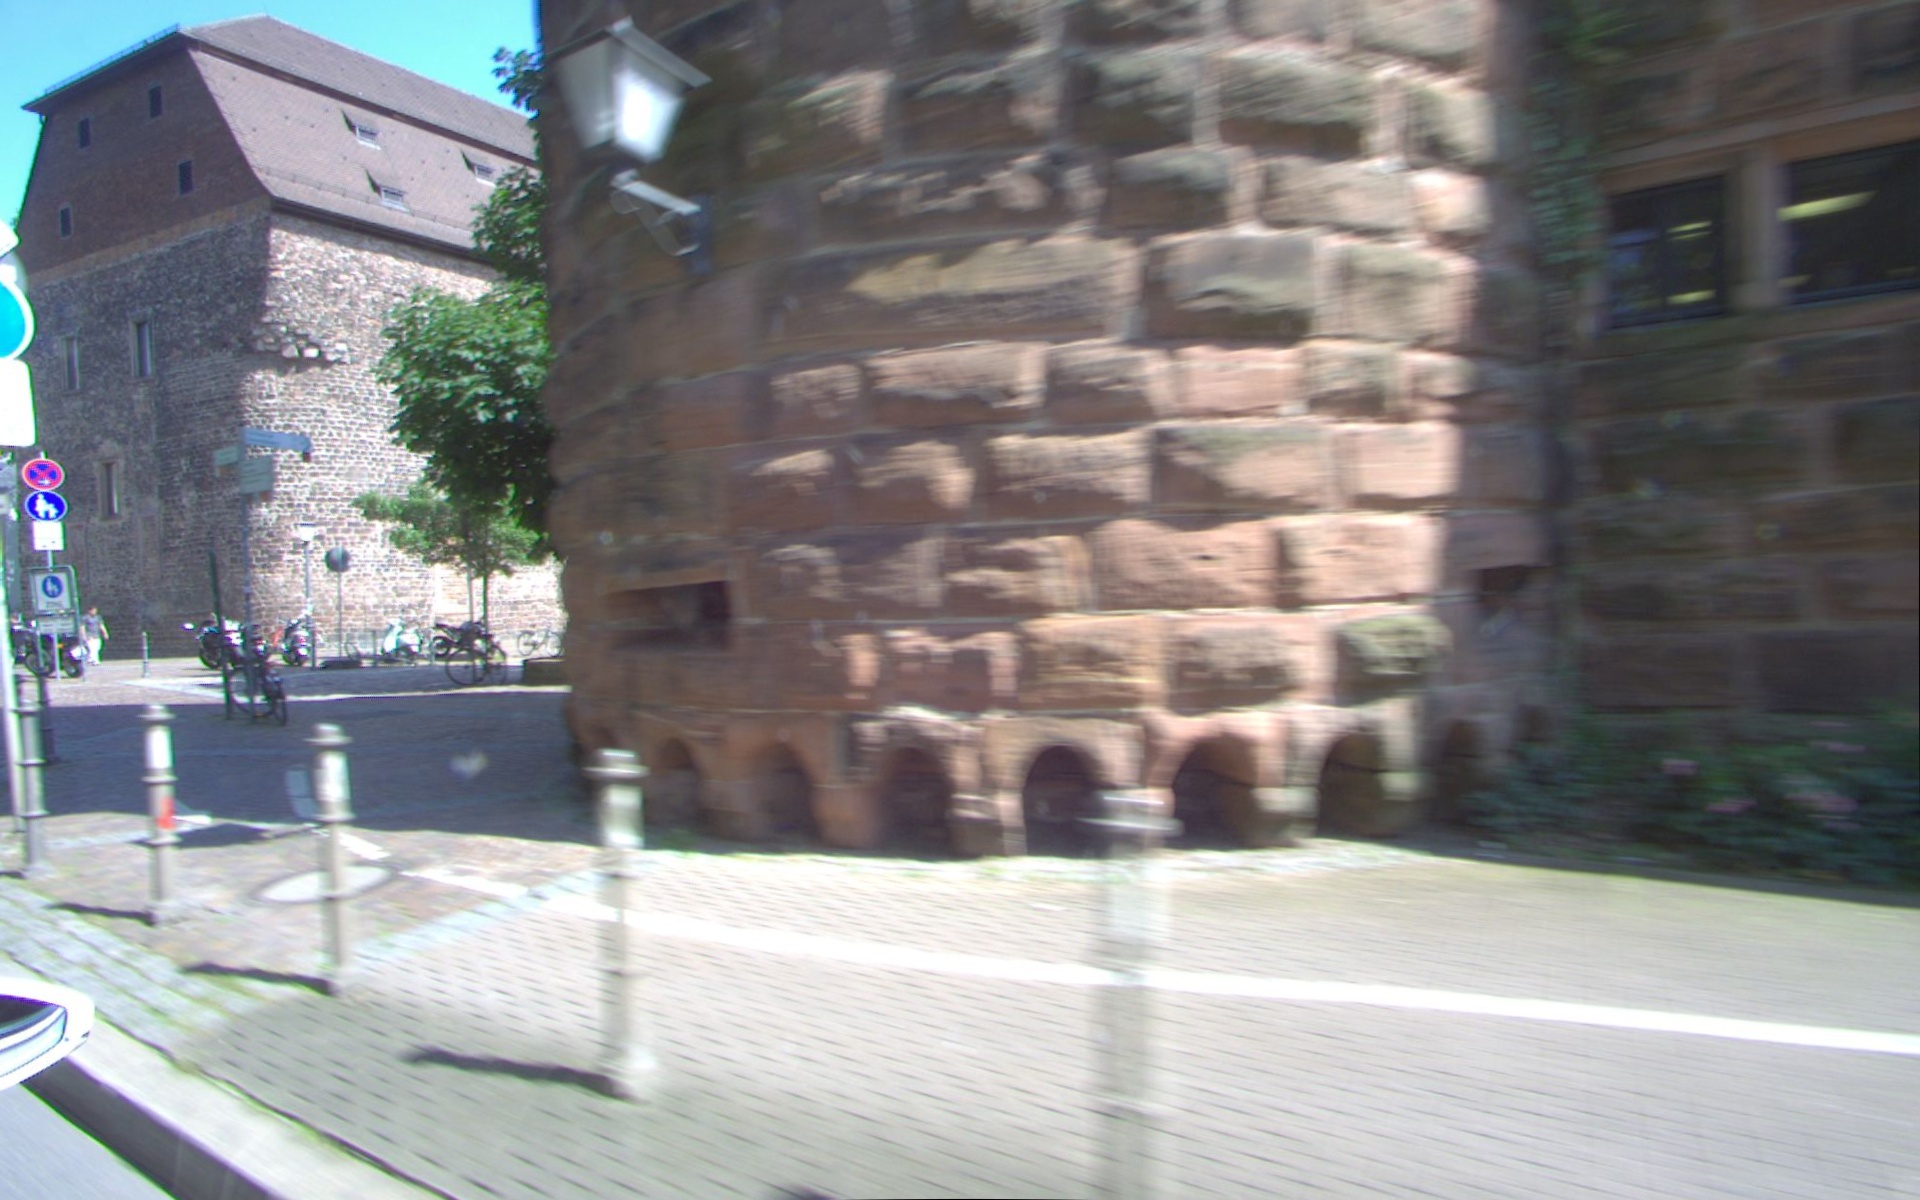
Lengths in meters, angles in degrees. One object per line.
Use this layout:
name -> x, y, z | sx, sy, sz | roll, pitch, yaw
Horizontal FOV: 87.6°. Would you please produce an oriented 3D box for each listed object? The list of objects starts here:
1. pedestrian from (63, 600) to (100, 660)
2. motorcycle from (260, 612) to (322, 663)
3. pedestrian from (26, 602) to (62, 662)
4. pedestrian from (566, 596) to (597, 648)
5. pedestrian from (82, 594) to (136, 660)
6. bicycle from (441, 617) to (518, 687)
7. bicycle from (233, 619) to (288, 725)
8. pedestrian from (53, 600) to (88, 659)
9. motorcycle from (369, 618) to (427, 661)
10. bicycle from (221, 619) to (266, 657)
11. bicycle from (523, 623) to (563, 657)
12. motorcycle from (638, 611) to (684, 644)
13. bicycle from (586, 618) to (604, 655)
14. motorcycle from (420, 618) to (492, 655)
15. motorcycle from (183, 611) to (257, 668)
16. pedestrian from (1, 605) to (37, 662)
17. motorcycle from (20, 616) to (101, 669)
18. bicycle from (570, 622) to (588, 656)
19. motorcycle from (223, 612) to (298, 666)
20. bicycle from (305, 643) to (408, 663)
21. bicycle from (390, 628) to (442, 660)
pedestrian -> -30.121, 1.036, 34.328 | 0.865, 2.039, 0.729 | -2, -1, 32
motorcycle -> -16.775, 0.949, 25.088 | 2.002, 1.251, 0.545 | -2, -2, 32
pedestrian -> -29.714, 1.036, 32.492 | 0.809, 1.908, 0.667 | -2, -1, 31
pedestrian -> -12.627, 0.733, 33.376 | 0.799, 1.684, 0.652 | -2, 1, -34
pedestrian -> -26.271, 0.827, 30.911 | 0.898, 1.975, 0.829 | -1, 1, -5
bicycle -> -8.511, 0.905, 17.721 | 1.707, 1.178, 0.445 | -1, 1, 36
bicycle -> -8.605, 0.846, 12.292 | 1.750, 1.220, 0.192 | 0, 0, 44
pedestrian -> -29.620, 0.993, 33.334 | 0.809, 1.944, 0.667 | -2, -1, 31
motorcycle -> -14.540, 1.037, 25.899 | 1.814, 1.086, 0.506 | -2, -2, 32
bicycle -> -23.280, 1.238, 32.530 | 1.691, 1.225, 0.388 | -2, -1, 24
bicycle -> -12.299, 1.170, 29.502 | 1.362, 0.978, 0.359 | -2, -2, 31
motorcycle -> -9.744, 0.902, 32.648 | 1.588, 1.047, 0.387 | -2, -1, 26
bicycle -> -11.270, 1.117, 30.891 | 0.355, 1.099, 1.376 | 0, -1, -26
motorcycle -> -14.752, 1.064, 29.329 | 0.474, 1.067, 1.858 | -2, -2, 40
motorcycle -> -17.313, 0.929, 23.410 | 2.169, 1.282, 0.654 | -2, -1, 32
pedestrian -> -30.964, 1.095, 32.945 | 0.835, 1.826, 0.651 | -1, 0, 31
motorcycle -> -18.754, 0.877, 20.861 | 2.453, 1.026, 0.565 | -1, 1, 32
bicycle -> -11.285, 1.159, 29.674 | 0.355, 0.961, 1.376 | 0, -2, -26
motorcycle -> -16.955, 0.951, 24.256 | 2.280, 1.251, 0.674 | -2, -2, 32
bicycle -> -14.081, 1.225, 23.398 | 1.915, 0.386, 0.909 | 0, -2, -44
bicycle -> -14.901, 1.197, 27.400 | 1.898, 0.831, 0.353 | -1, -1, 32
